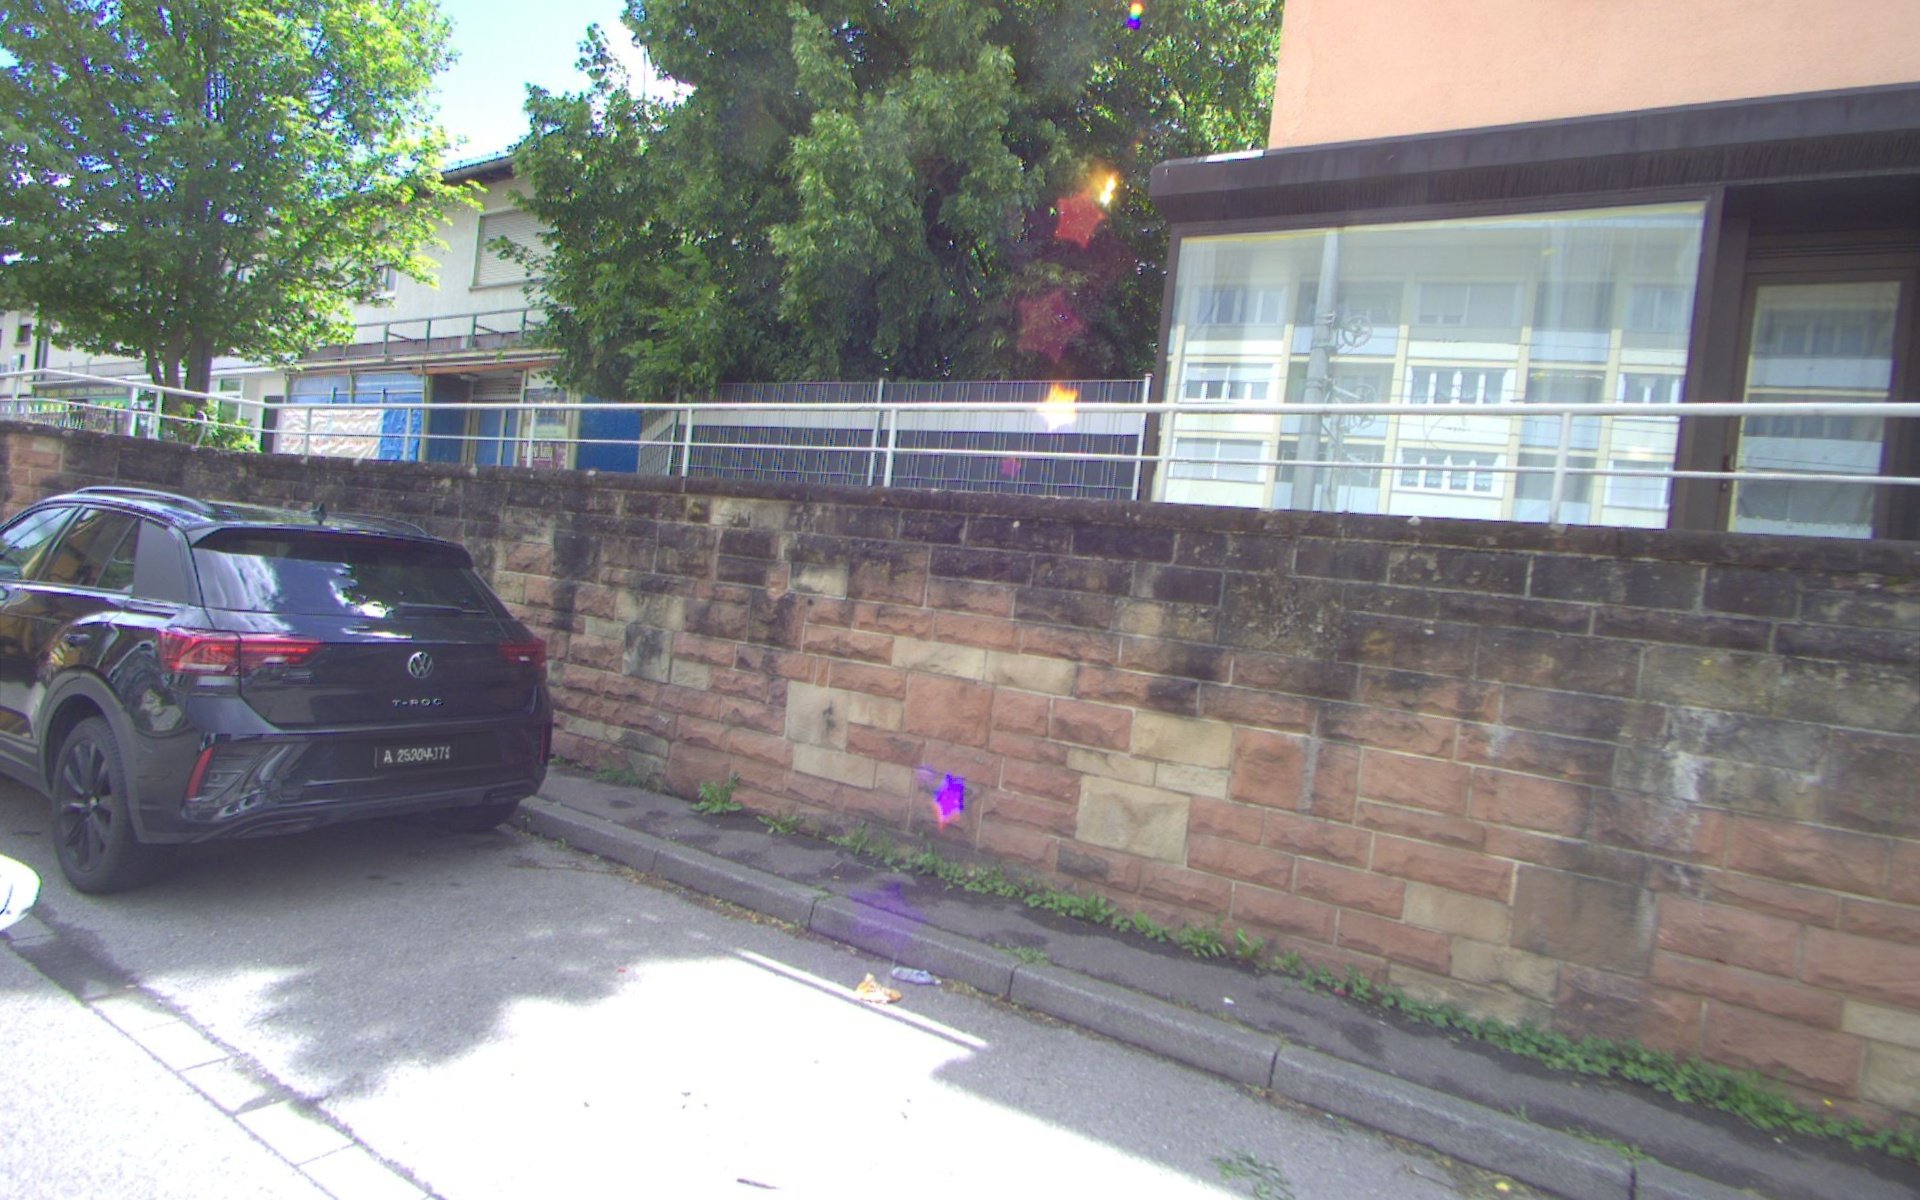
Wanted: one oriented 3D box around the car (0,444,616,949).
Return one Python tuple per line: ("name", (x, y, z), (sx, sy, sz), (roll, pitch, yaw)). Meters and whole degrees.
("car", (-3.888, 0.191, 5.170), (3.934, 1.660, 1.852), (7, 1, 32))
